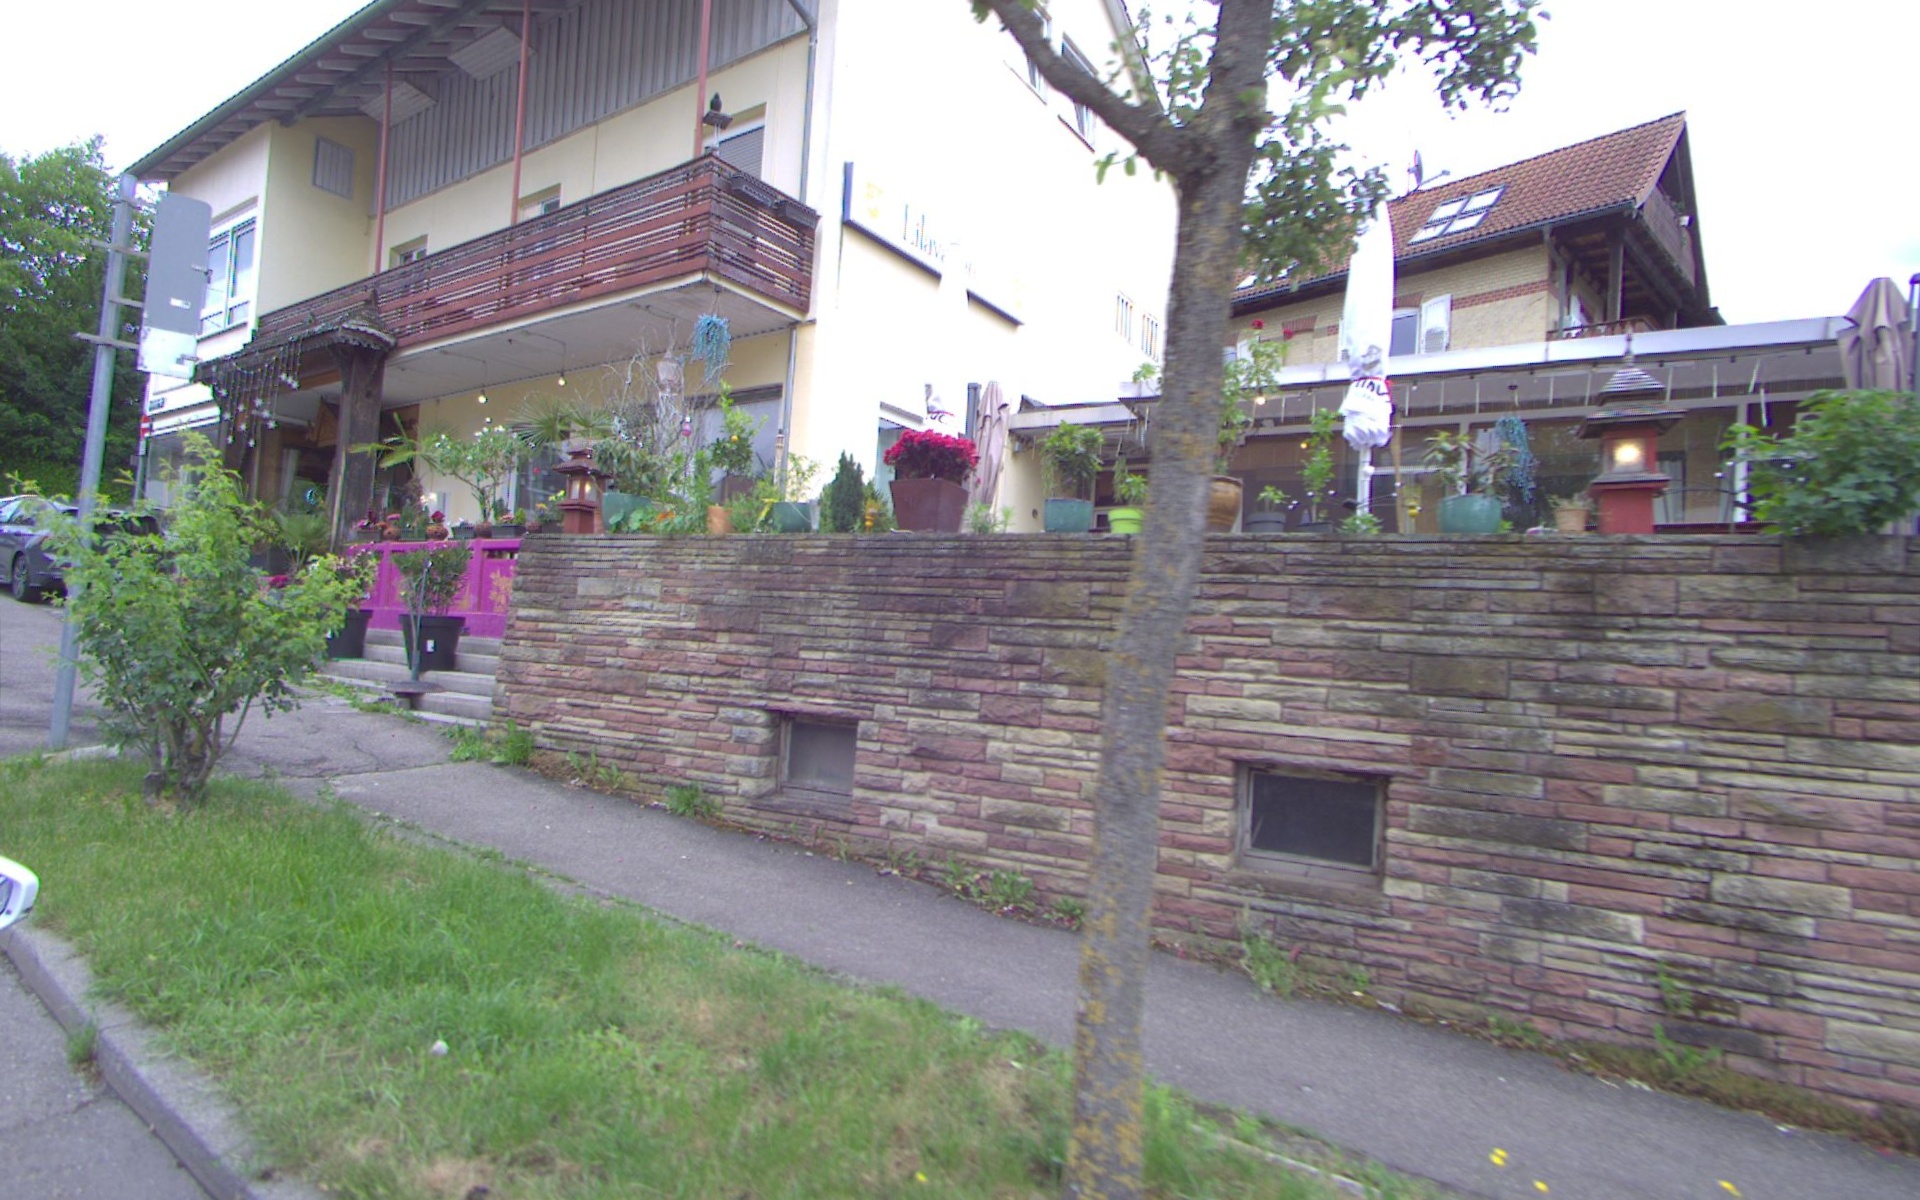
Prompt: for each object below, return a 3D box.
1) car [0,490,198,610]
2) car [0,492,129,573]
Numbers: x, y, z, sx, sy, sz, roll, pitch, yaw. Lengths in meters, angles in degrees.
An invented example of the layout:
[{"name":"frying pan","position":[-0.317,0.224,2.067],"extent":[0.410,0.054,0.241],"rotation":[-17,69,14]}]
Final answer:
[{"name":"car","position":[-13.633,-0.819,15.233],"extent":[4.313,1.491,1.849],"rotation":[6,1,32]},{"name":"car","position":[-22.878,-1.701,24.313],"extent":[4.222,1.611,1.968],"rotation":[7,-4,-40]}]
